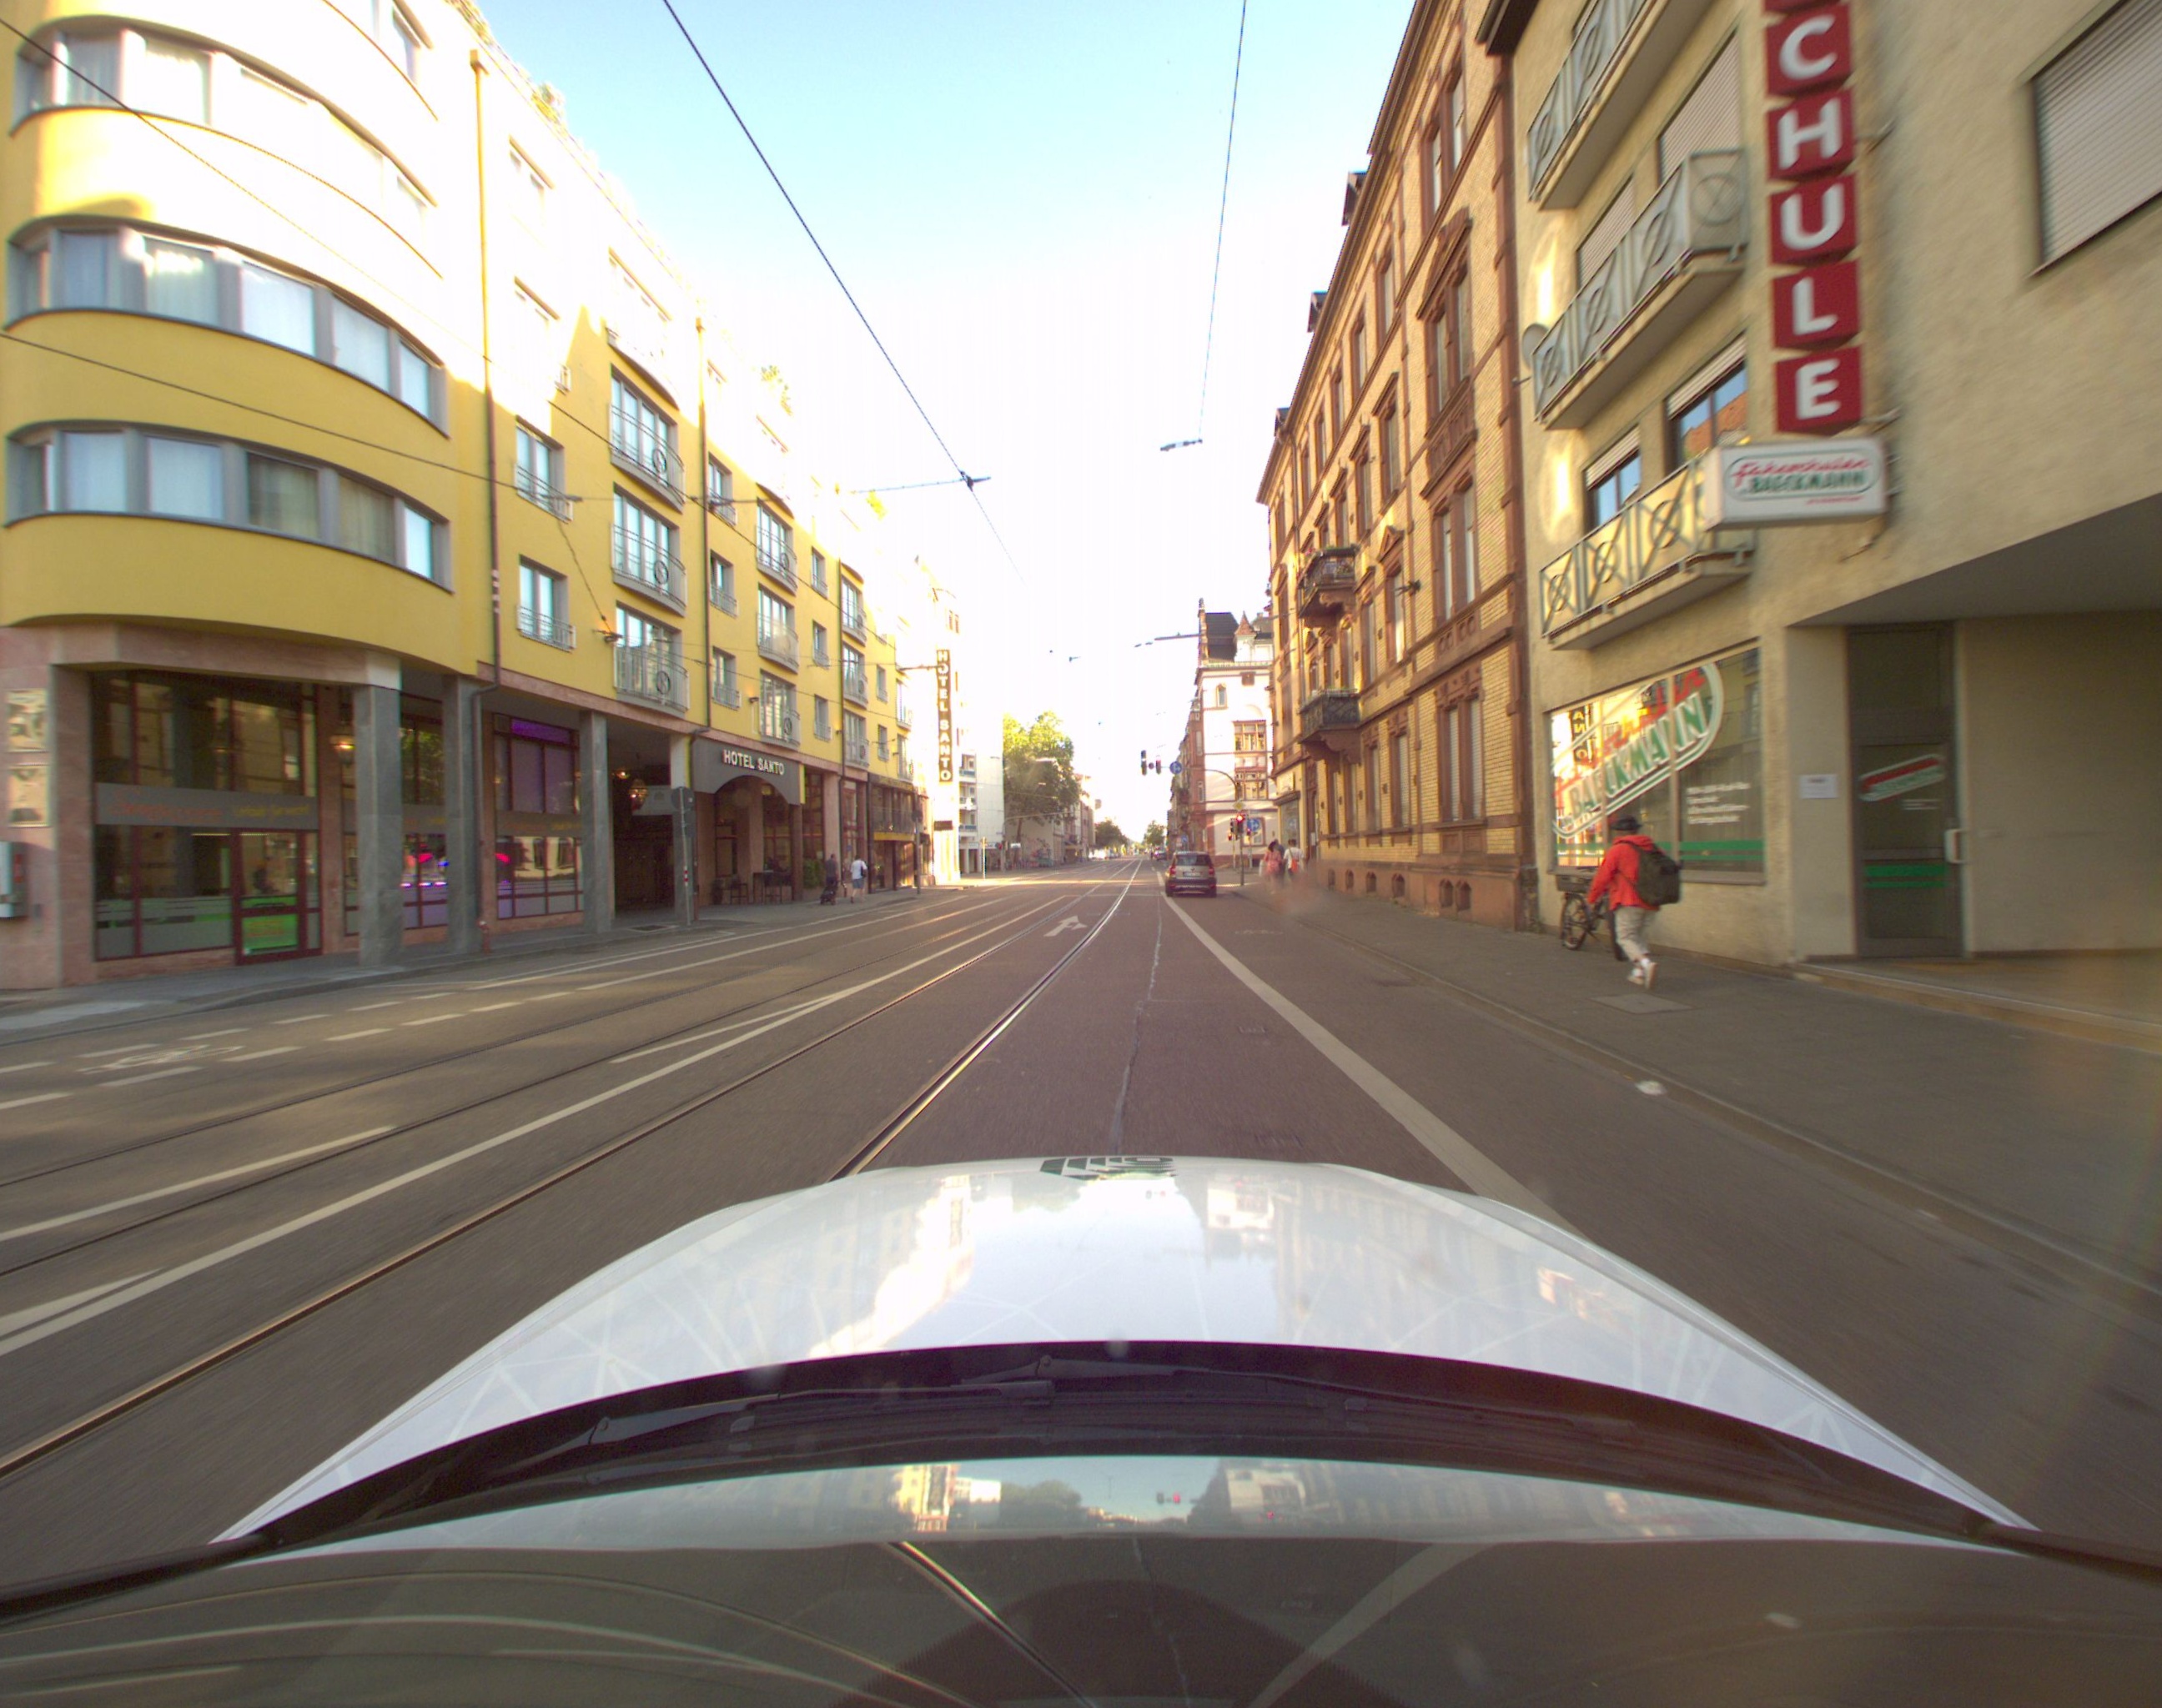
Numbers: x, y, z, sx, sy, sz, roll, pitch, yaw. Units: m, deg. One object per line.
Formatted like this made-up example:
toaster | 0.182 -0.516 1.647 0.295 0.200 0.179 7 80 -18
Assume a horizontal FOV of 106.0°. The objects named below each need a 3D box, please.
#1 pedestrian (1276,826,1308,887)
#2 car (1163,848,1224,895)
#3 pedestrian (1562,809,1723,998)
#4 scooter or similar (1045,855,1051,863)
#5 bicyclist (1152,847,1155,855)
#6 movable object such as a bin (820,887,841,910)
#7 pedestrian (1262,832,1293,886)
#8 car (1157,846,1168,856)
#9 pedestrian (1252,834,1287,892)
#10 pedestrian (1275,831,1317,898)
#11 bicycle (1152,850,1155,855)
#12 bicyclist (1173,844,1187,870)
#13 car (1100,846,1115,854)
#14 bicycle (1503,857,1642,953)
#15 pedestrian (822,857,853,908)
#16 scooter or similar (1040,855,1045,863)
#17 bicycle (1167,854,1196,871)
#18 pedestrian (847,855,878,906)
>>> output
pedestrian | 6.926 0.070 26.754 0.688 1.908 0.671 -6 0 3
car | 4.114 0.587 30.293 1.984 1.618 4.005 -1 0 4
pedestrian | 5.356 0.448 7.832 0.794 1.627 0.827 -8 0 4
scooter or similar | -4.260 0.635 104.762 0.514 1.057 1.479 -2 0 3
bicyclist | 14.544 -0.687 163.750 0.572 1.554 0.596 -2 0 5
movable object such as a bin | -8.668 1.540 28.173 0.381 0.716 0.842 2 1 6
pedestrian | 6.978 0.171 28.940 0.802 1.799 0.762 -6 0 4
car | 15.279 -0.607 152.386 1.940 1.684 4.007 -2 0 6
pedestrian | 6.199 0.288 26.824 0.802 1.799 0.762 -6 0 3
pedestrian | 6.186 0.290 23.467 0.802 1.799 1.093 -6 0 3
bicycle | 14.566 -0.234 163.765 0.572 1.030 1.898 -2 0 6
bicyclist | 6.300 0.221 51.774 0.733 1.634 0.611 -1 -1 25
car | 7.830 -1.200 239.331 4.001 2.013 1.986 -2 0 -21
bicycle | 6.402 0.607 10.779 0.552 1.061 2.314 -5 0 5
pedestrian | -8.662 1.000 28.977 0.794 1.771 0.750 2 1 4
scooter or similar | -4.948 0.655 104.821 0.514 1.045 1.479 -2 0 3
bicycle | 6.393 0.532 51.756 1.699 1.034 0.602 -1 -1 24
pedestrian | -8.024 0.963 29.947 0.748 1.818 1.047 2 1 4
